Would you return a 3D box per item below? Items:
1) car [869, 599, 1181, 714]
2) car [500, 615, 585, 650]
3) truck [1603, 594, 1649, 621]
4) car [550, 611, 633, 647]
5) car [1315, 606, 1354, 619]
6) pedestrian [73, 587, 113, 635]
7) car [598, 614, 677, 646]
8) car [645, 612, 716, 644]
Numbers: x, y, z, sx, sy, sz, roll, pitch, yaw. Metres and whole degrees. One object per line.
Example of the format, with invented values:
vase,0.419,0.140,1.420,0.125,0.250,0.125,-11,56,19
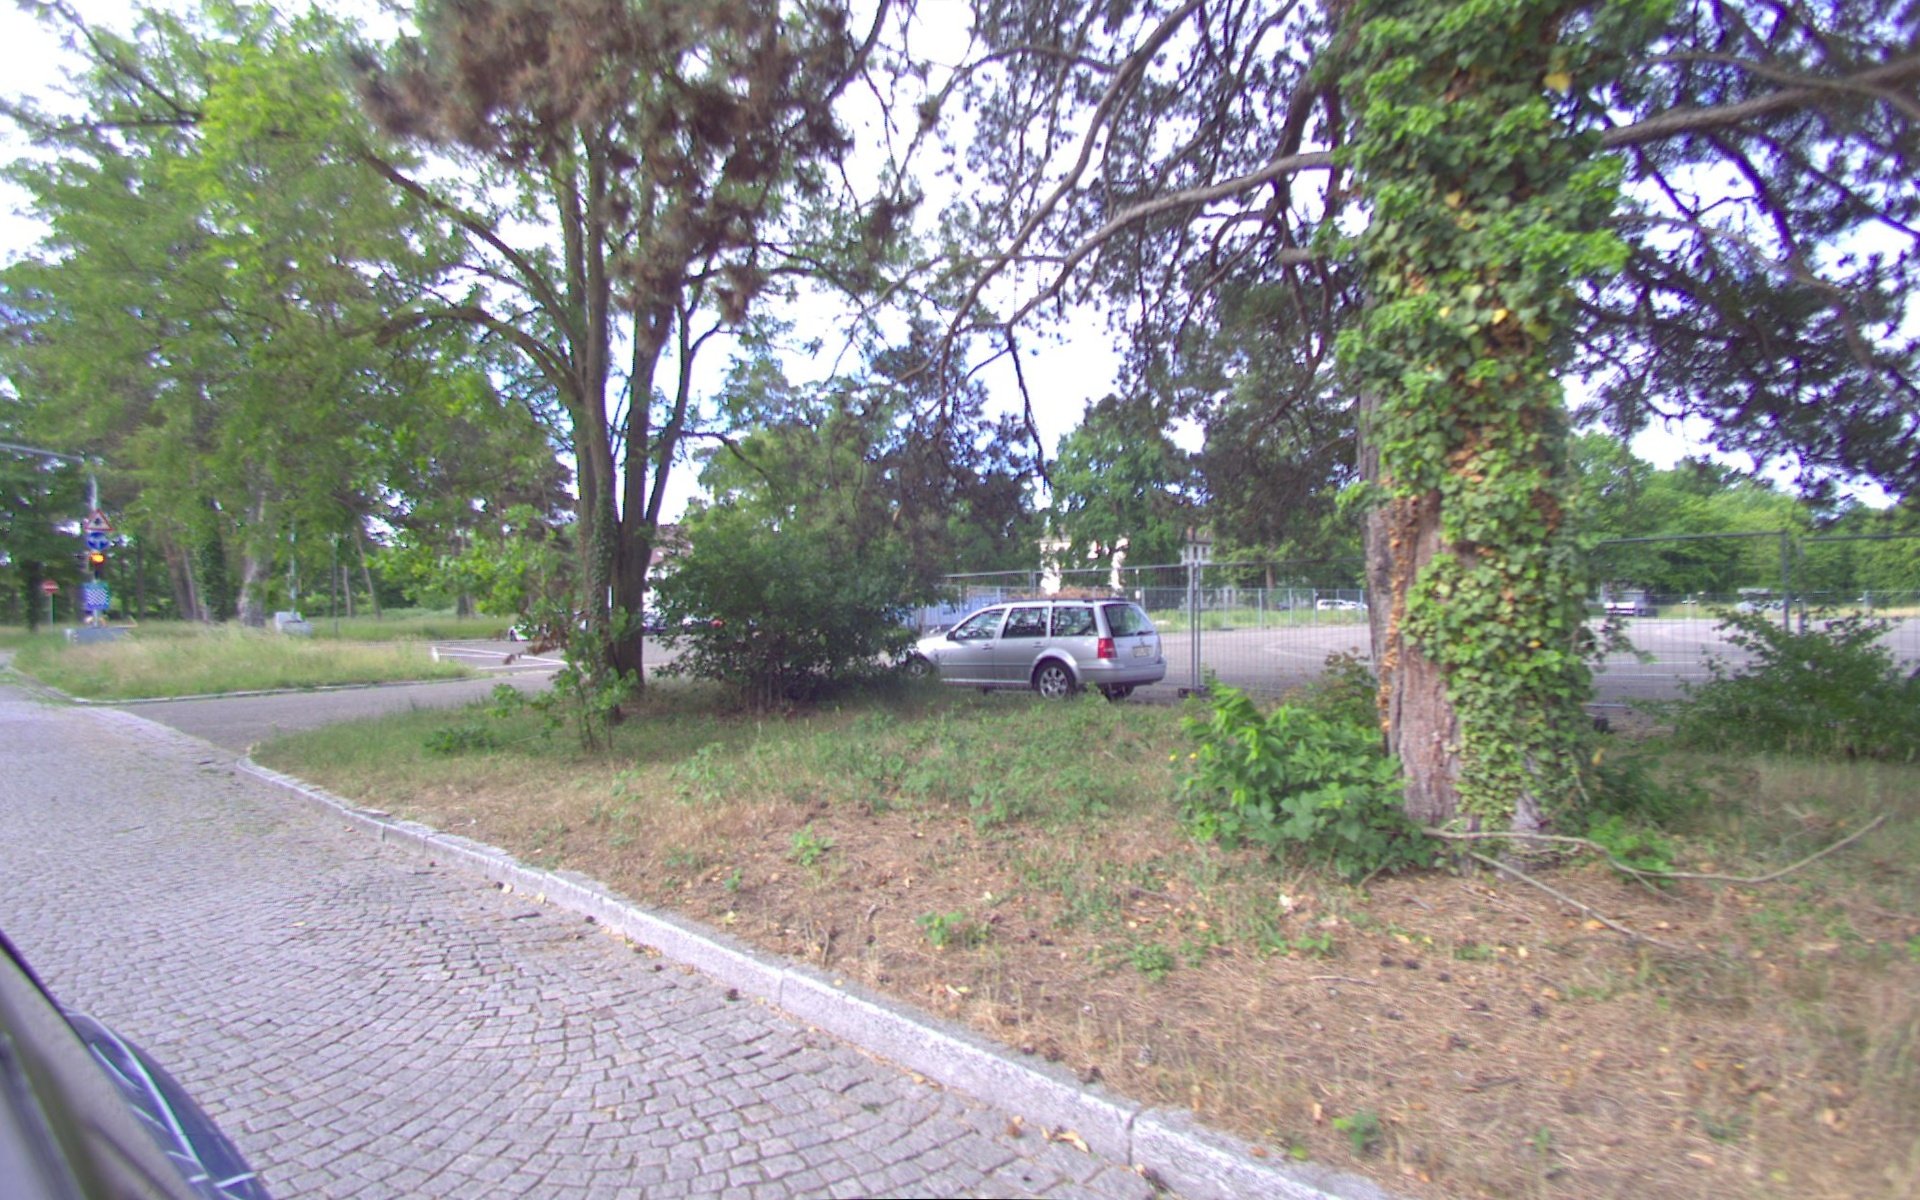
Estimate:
car,0.835,0.764,14.940,4.464,1.449,1.698,-2,-1,40
car,-19.817,1.565,47.963,4.651,1.461,1.816,-4,-2,40
truck,56.507,0.611,85.803,2.374,2.215,6.464,-2,-1,42
car,-18.231,1.462,50.005,4.581,1.590,1.816,-4,-3,40
car,50.145,1.685,135.678,4.581,1.645,1.816,-2,-1,40
pedestrian,-28.183,0.345,32.913,0.869,1.529,0.824,0,-1,-33
car,-16.636,1.568,52.090,4.584,1.480,1.815,-4,-2,43
car,-15.020,1.535,54.289,4.113,1.533,1.713,-4,-3,43
